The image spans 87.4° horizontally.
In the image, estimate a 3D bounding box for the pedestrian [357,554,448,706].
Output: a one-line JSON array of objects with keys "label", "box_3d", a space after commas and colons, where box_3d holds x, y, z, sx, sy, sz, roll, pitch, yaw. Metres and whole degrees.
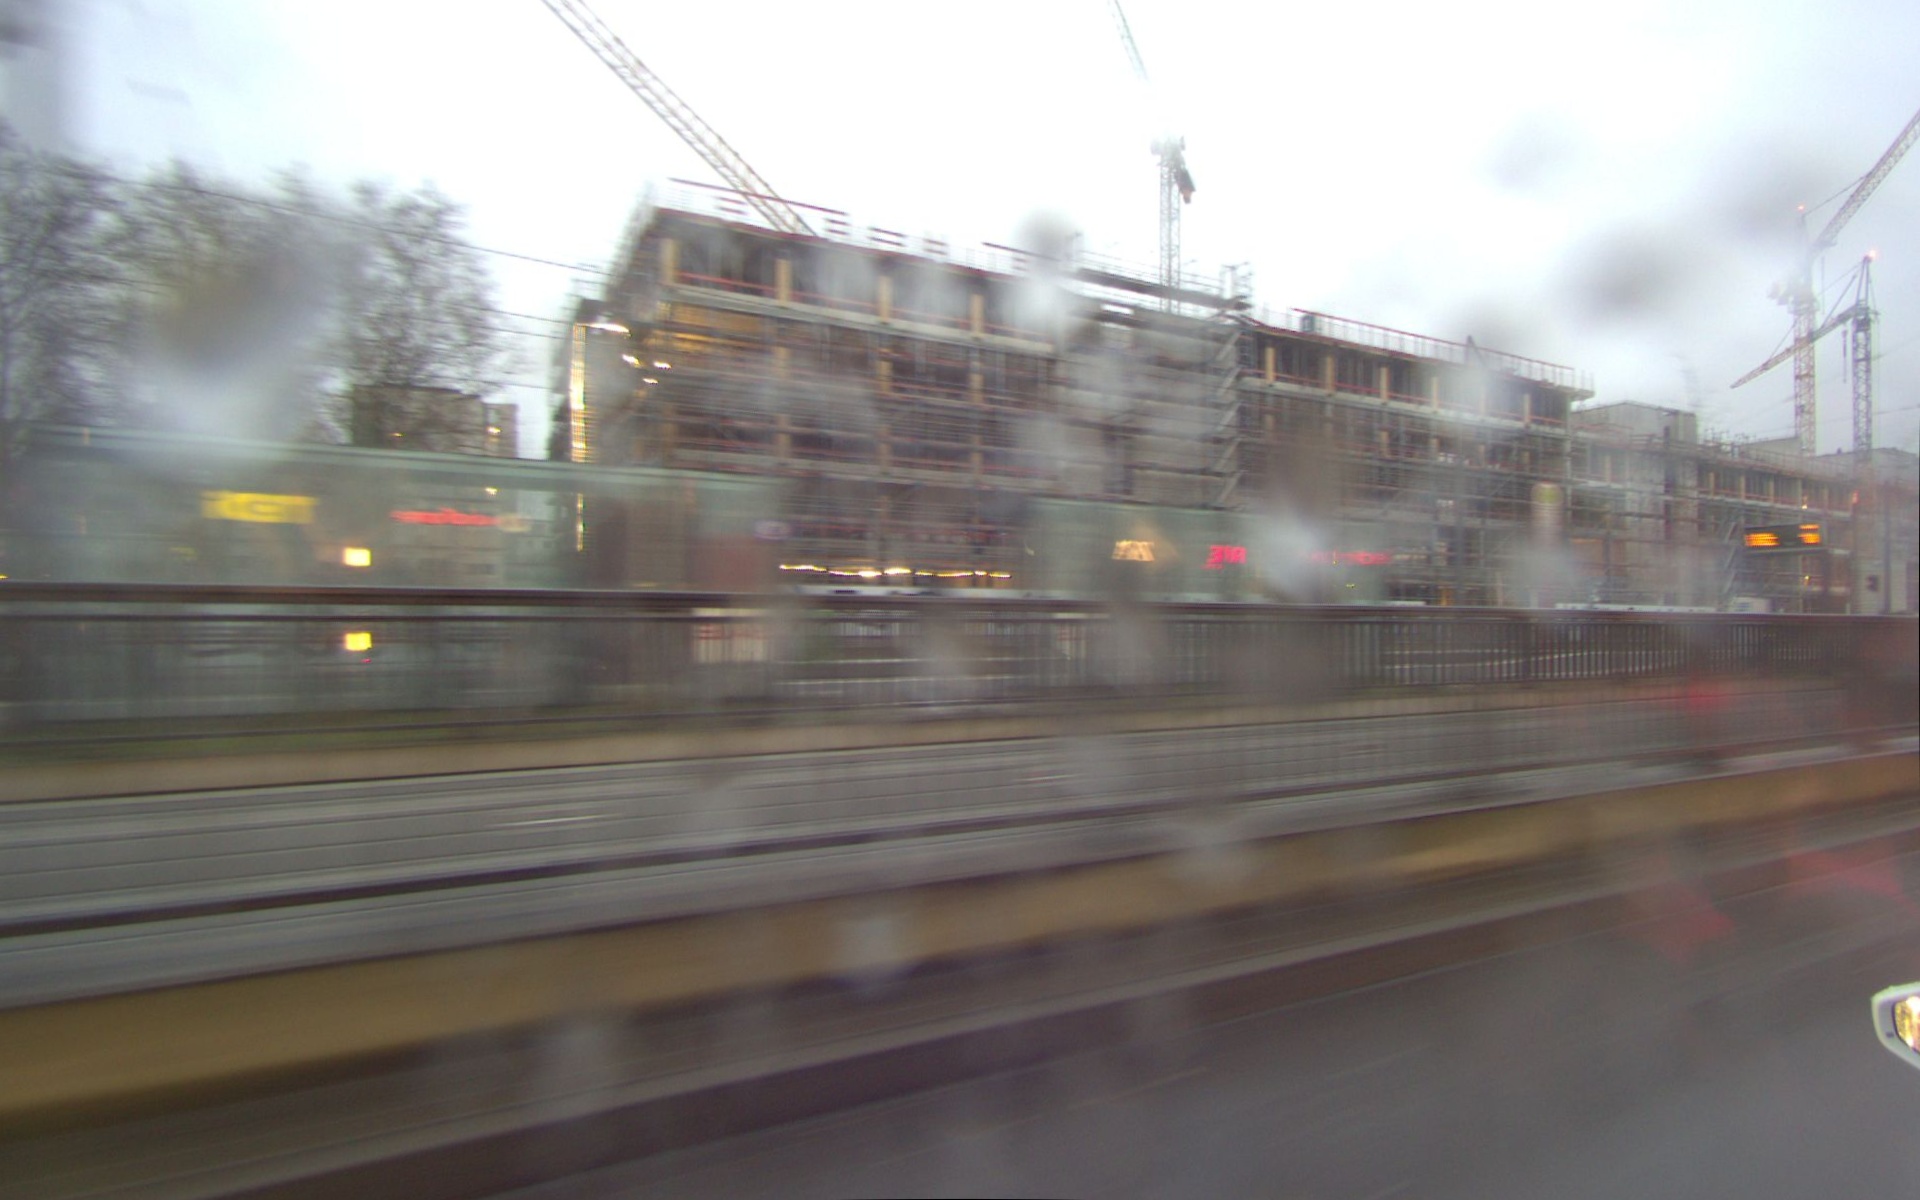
[{"label": "pedestrian", "box_3d": [-5.949, 0.317, 10.755, 0.728, 1.571, 0.583, 1, 0, -18]}]

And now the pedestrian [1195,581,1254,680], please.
[{"label": "pedestrian", "box_3d": [4.294, 0.496, 16.334, 0.728, 1.571, 0.583, 1, 0, -18]}]

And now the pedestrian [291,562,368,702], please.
[{"label": "pedestrian", "box_3d": [-7.332, 0.368, 11.698, 0.571, 1.588, 0.544, 1, 0, -9]}]

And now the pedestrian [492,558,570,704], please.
[{"label": "pedestrian", "box_3d": [-4.764, 0.336, 11.187, 0.728, 1.571, 0.583, 1, 0, -18]}]

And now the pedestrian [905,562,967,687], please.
[{"label": "pedestrian", "box_3d": [-0.344, 0.342, 14.248, 0.728, 1.724, 0.583, 1, 0, -18]}]

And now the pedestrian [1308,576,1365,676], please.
[{"label": "pedestrian", "box_3d": [6.638, 0.461, 17.723, 0.728, 1.724, 0.583, 1, 0, -18]}]

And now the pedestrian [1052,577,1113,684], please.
[{"label": "pedestrian", "box_3d": [1.856, 0.455, 15.206, 0.728, 1.571, 0.583, 1, 0, -18]}]
